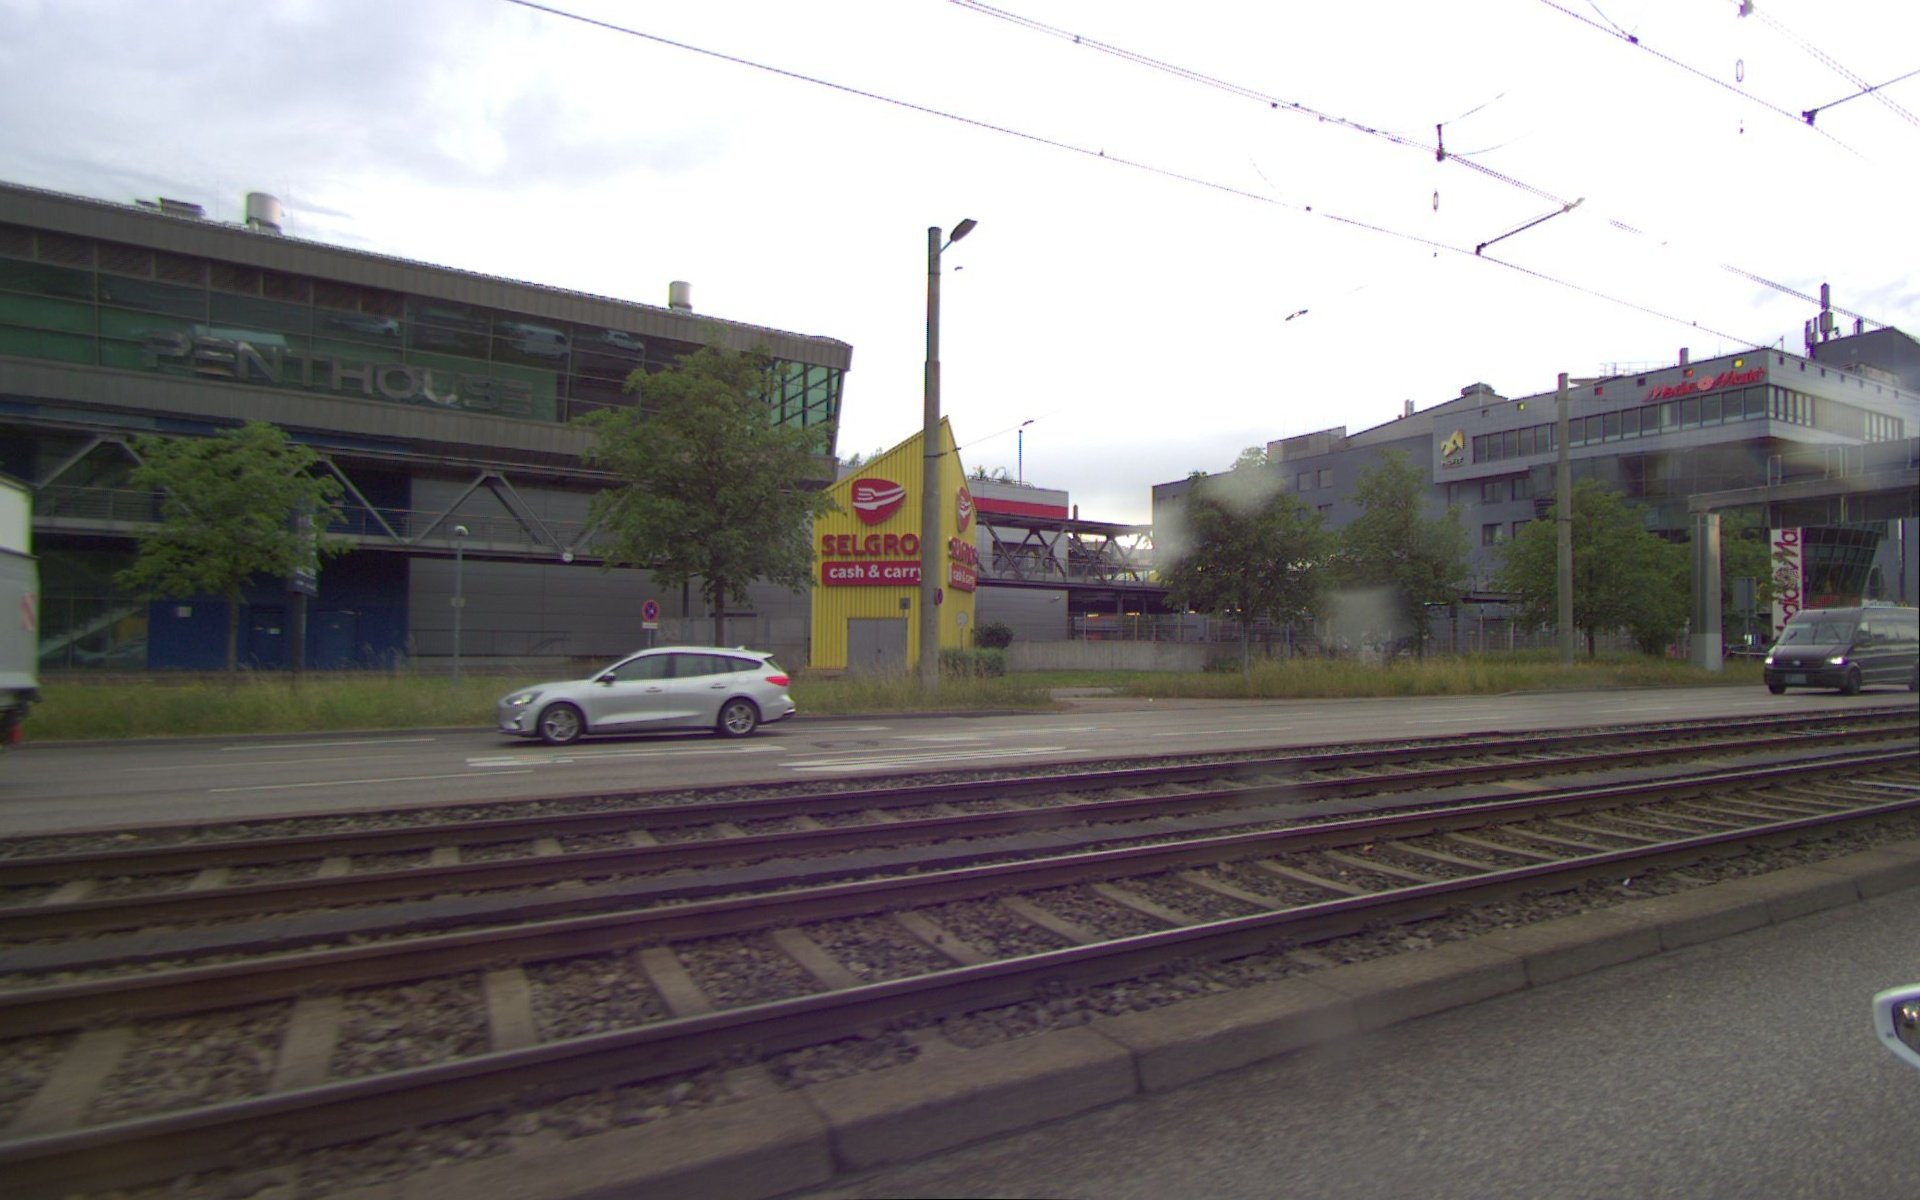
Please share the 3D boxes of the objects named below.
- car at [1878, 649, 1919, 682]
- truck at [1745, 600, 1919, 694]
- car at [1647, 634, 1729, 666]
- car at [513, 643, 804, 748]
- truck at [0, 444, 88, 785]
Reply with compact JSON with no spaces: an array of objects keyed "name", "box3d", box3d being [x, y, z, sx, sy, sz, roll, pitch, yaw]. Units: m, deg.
[{"name":"car","box3d":[48.165,3.238,50.167,1.576,1.557,2.943,-2,-2,-15]},{"name":"truck","box3d":[26.912,1.451,30.509,6.929,2.598,2.230,2,-4,-29]},{"name":"car","box3d":[47.715,3.278,65.902,1.980,2.040,3.963,2,-3,-34]},{"name":"car","box3d":[-4.915,1.480,16.439,4.363,1.508,1.893,1,-3,-25]},{"name":"truck","box3d":[-13.145,0.169,9.302,7.057,3.401,2.720,1,-4,-26]}]
